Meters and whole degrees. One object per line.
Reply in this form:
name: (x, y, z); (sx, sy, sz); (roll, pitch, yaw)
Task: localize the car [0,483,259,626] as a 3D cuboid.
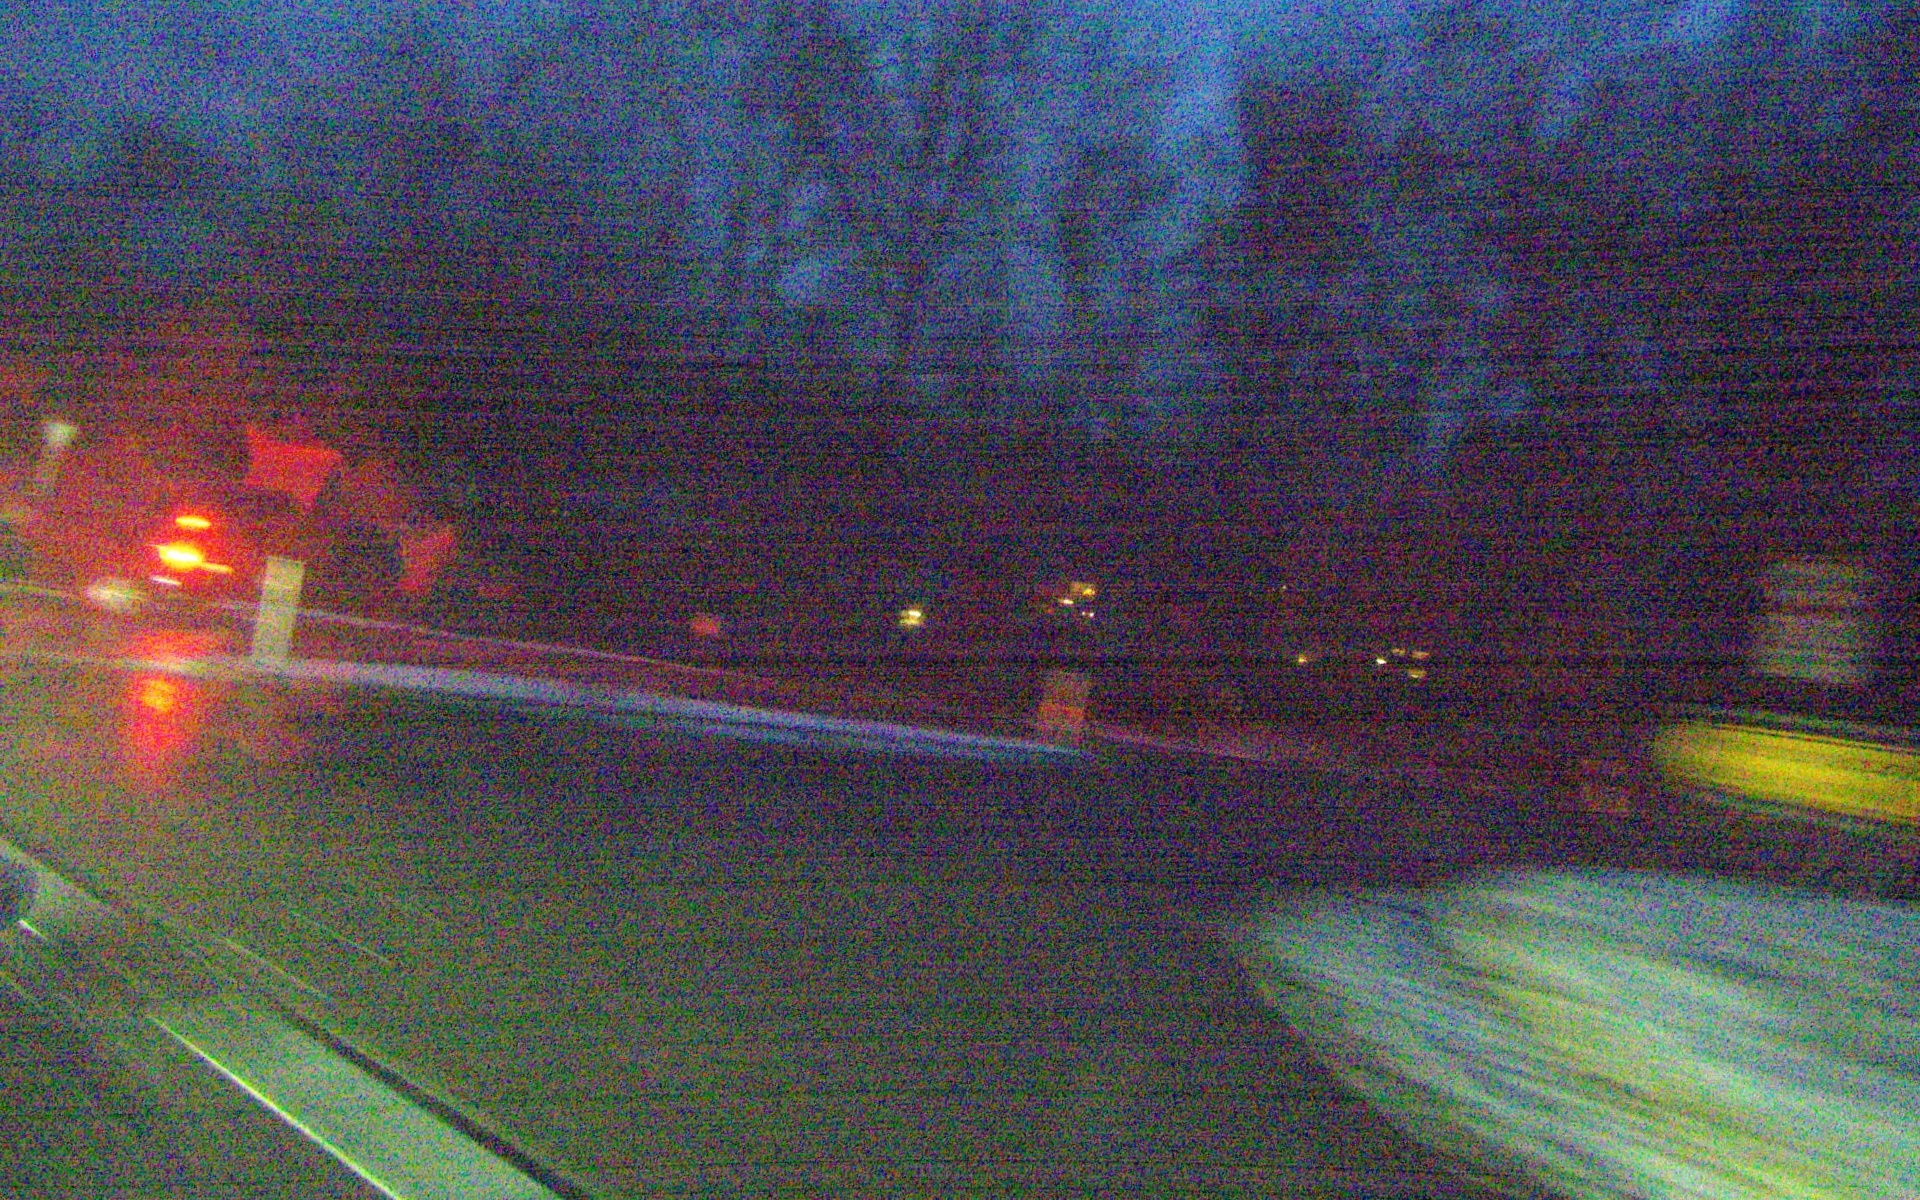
car: (-13.947, -0.776, 15.432); (4.707, 1.709, 1.955); (9, -3, -18)
